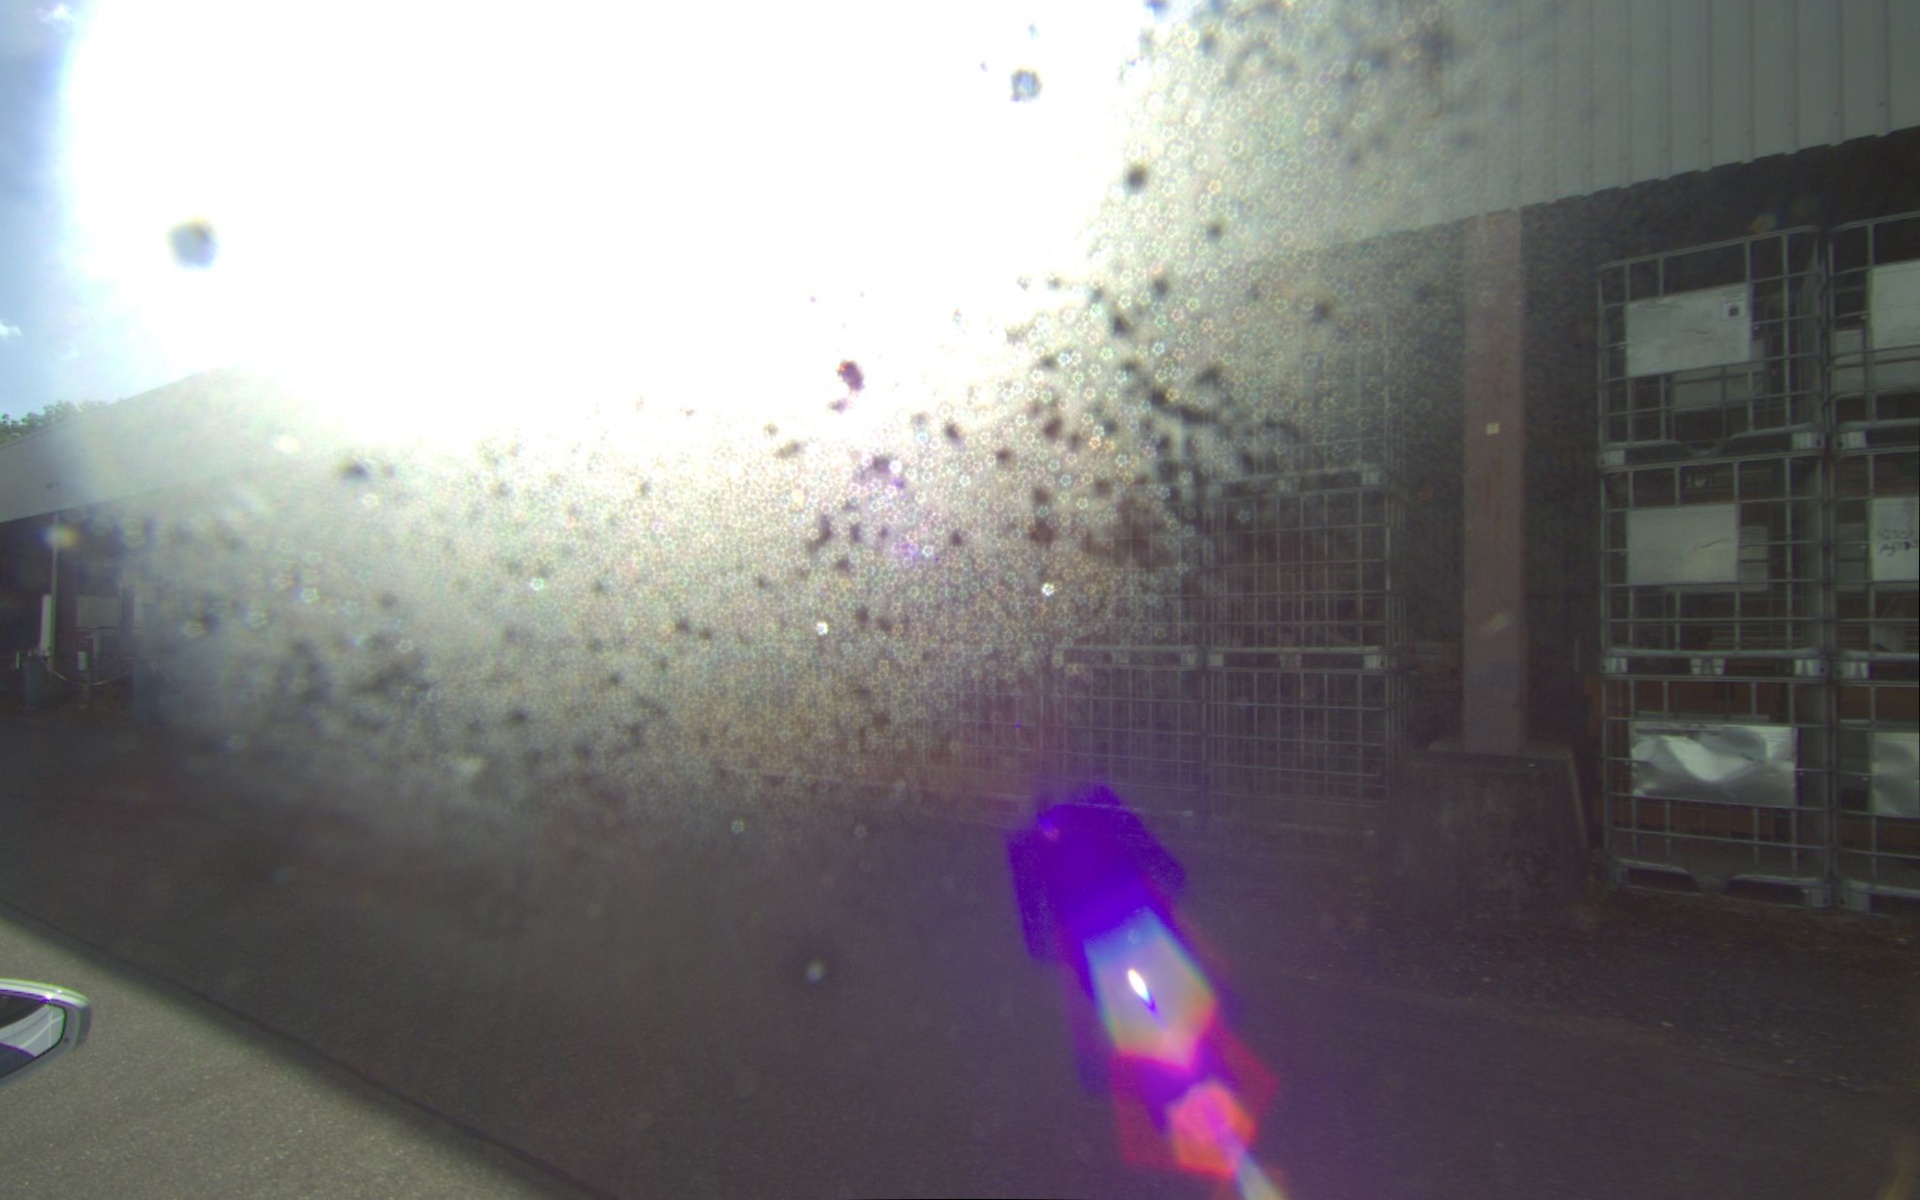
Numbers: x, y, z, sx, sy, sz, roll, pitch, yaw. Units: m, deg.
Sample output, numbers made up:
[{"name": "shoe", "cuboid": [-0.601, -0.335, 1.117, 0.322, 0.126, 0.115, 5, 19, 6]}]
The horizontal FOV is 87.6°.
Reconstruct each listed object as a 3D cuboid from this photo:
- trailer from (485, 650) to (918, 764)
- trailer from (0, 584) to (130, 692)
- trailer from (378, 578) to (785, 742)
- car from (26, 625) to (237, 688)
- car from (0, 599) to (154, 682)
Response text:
[{"name": "trailer", "cuboid": [-3.058, 1.272, 13.493, 2.110, 1.147, 5.840, -1, -3, 31]}, {"name": "trailer", "cuboid": [-21.629, 0.932, 23.787, 1.704, 2.428, 2.518, -2, -4, 34]}, {"name": "trailer", "cuboid": [-5.507, 0.886, 15.531, 2.049, 2.058, 5.753, -1, -3, 34]}, {"name": "car", "cuboid": [-22.192, 1.590, 26.986, 1.662, 1.542, 4.032, -3, -6, 34]}, {"name": "car", "cuboid": [-27.615, 1.295, 30.446, 1.890, 2.336, 4.426, -3, -6, 34]}]
